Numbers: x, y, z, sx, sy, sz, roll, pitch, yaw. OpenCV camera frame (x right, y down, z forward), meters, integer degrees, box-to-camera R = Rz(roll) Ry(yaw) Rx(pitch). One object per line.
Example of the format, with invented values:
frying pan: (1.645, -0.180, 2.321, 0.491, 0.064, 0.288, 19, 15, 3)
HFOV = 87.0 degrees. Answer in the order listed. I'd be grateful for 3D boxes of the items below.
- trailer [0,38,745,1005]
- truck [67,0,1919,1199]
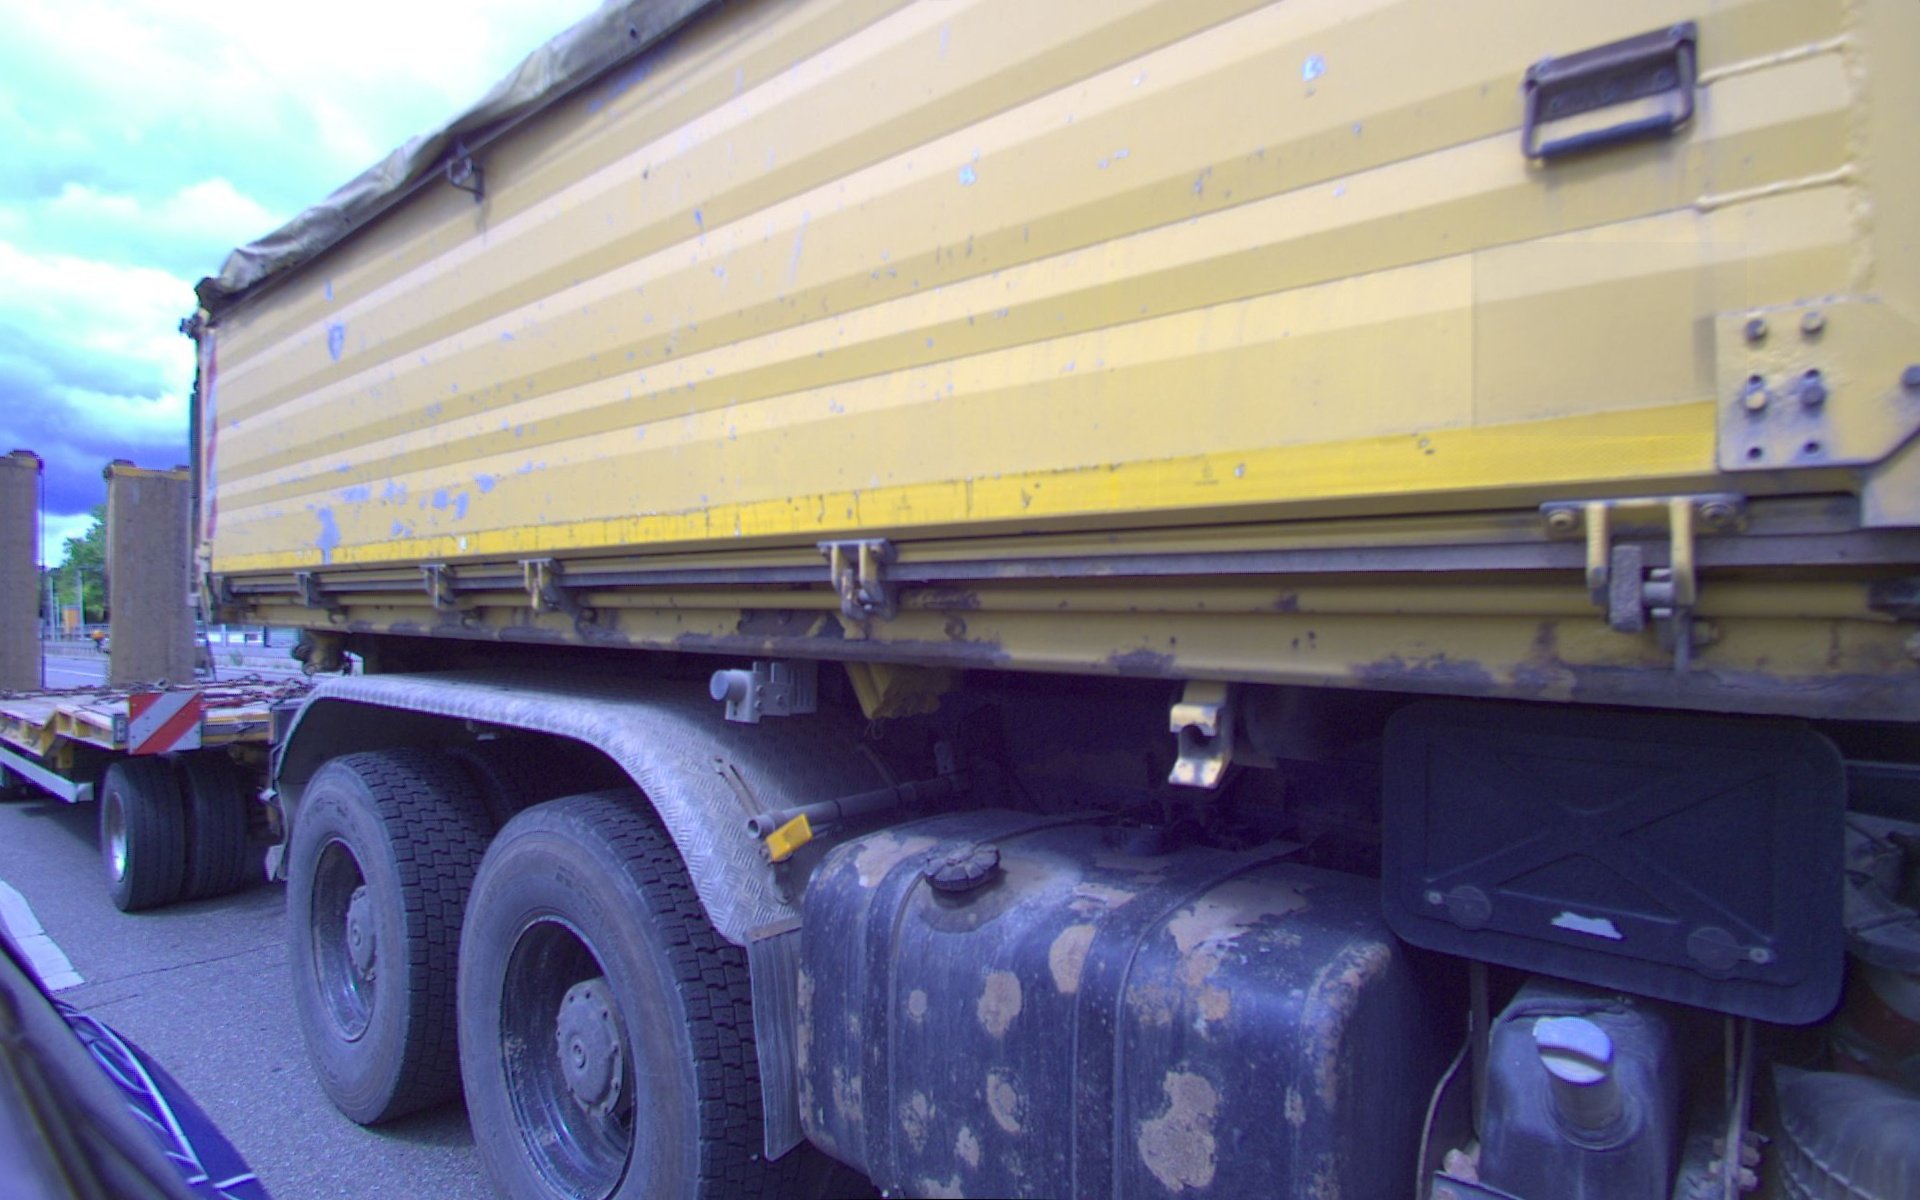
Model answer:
trailer: (-6.494, -0.179, 8.604, 10.957, 3.726, 3.018, -2, -1, 40)
truck: (0.546, -0.270, 2.533, 7.999, 3.420, 3.019, -2, -1, 40)
